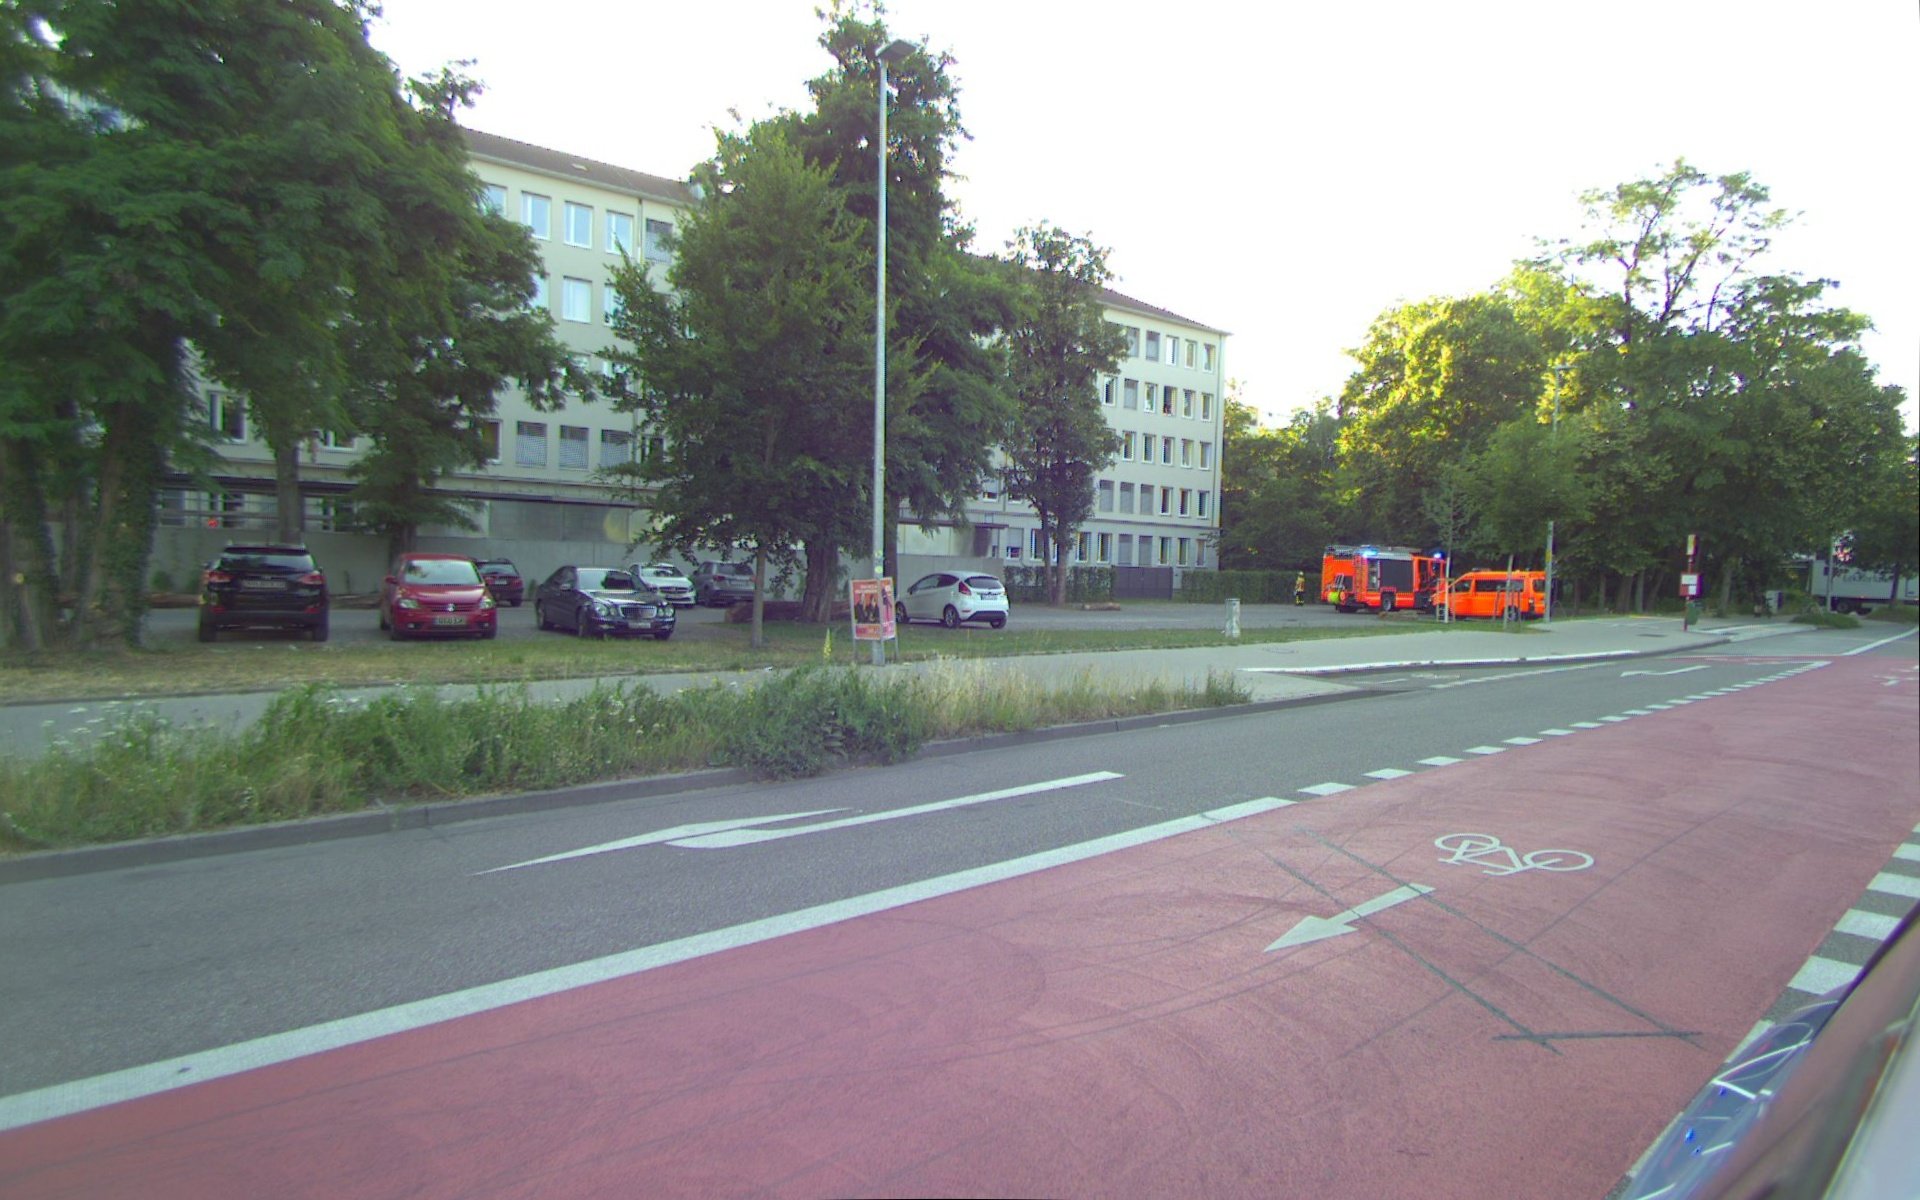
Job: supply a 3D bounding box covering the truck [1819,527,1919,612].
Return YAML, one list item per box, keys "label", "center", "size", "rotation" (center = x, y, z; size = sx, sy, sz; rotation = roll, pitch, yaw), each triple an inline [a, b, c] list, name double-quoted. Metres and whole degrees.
- label: "truck"
  center: [67.335, -1.925, 66.909]
  size: [5.056, 5.642, 15.105]
  rotation: [0, 2, -30]

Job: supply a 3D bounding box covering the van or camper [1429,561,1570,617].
- label: "van or camper"
  center: [23.019, -0.508, 43.376]
  size: [2.252, 2.272, 4.828]
  rotation: [0, 1, -36]

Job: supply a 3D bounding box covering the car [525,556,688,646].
- label: "car"
  center: [-7.441, -0.084, 21.016]
  size: [1.866, 1.465, 4.584]
  rotation: [-2, 6, -37]

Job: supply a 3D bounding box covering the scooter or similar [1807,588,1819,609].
- label: "scooter or similar"
  center: [53.271, -0.099, 63.167]
  size: [0.482, 1.297, 1.213]
  rotation: [5, 3, 40]

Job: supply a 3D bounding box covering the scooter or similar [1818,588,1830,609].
- label: "scooter or similar"
  center: [54.820, -0.085, 64.210]
  size: [0.482, 1.297, 1.123]
  rotation: [5, 3, 41]

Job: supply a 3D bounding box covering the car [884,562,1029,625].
- label: "car"
  center: [-0.176, -0.219, 27.033]
  size: [1.876, 1.556, 3.999]
  rotation: [0, 2, -37]

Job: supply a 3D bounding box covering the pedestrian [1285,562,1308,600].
- label: "pedestrian"
  center: [18.503, -1.058, 55.675]
  size: [0.810, 2.038, 0.774]
  rotation: [1, 2, -32]

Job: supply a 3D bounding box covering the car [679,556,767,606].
- label: "car"
  center: [-8.349, -0.691, 35.430]
  size: [1.875, 1.636, 4.004]
  rotation: [-1, 2, -32]

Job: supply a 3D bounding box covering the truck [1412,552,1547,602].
- label: "truck"
  center: [36.665, -1.725, 71.866]
  size: [2.703, 3.250, 8.683]
  rotation: [1, 2, -24]

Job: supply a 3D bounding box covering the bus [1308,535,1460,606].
- label: "bus"
  center: [20.811, -1.388, 49.531]
  size: [7.810, 3.236, 2.999]
  rotation: [0, 1, -34]

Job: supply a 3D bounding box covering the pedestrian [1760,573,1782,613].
- label: "pedestrian"
  center: [42.793, -0.369, 53.426]
  size: [0.719, 2.038, 0.688]
  rotation: [2, 2, 28]

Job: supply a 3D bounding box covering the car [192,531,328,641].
- label: "car"
  center: [-12.394, -0.279, 17.898]
  size: [1.802, 1.715, 3.910]
  rotation: [0, 1, -36]

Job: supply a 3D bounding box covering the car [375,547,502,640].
- label: "car"
  center: [-10.150, -0.194, 19.556]
  size: [1.751, 1.580, 4.003]
  rotation: [0, 2, -34]

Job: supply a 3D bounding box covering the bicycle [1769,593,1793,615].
- label: "bicycle"
  center: [43.025, 0.192, 53.056]
  size: [0.828, 1.111, 1.943]
  rotation: [2, 2, 36]

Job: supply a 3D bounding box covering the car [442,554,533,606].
- label: "car"
  center: [-14.458, -0.629, 30.878]
  size: [1.866, 1.460, 4.001]
  rotation: [0, 2, -35]

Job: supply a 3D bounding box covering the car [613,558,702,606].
- label: "car"
  center: [-10.139, -0.625, 33.734]
  size: [1.798, 1.494, 4.002]
  rotation: [0, 1, -33]
